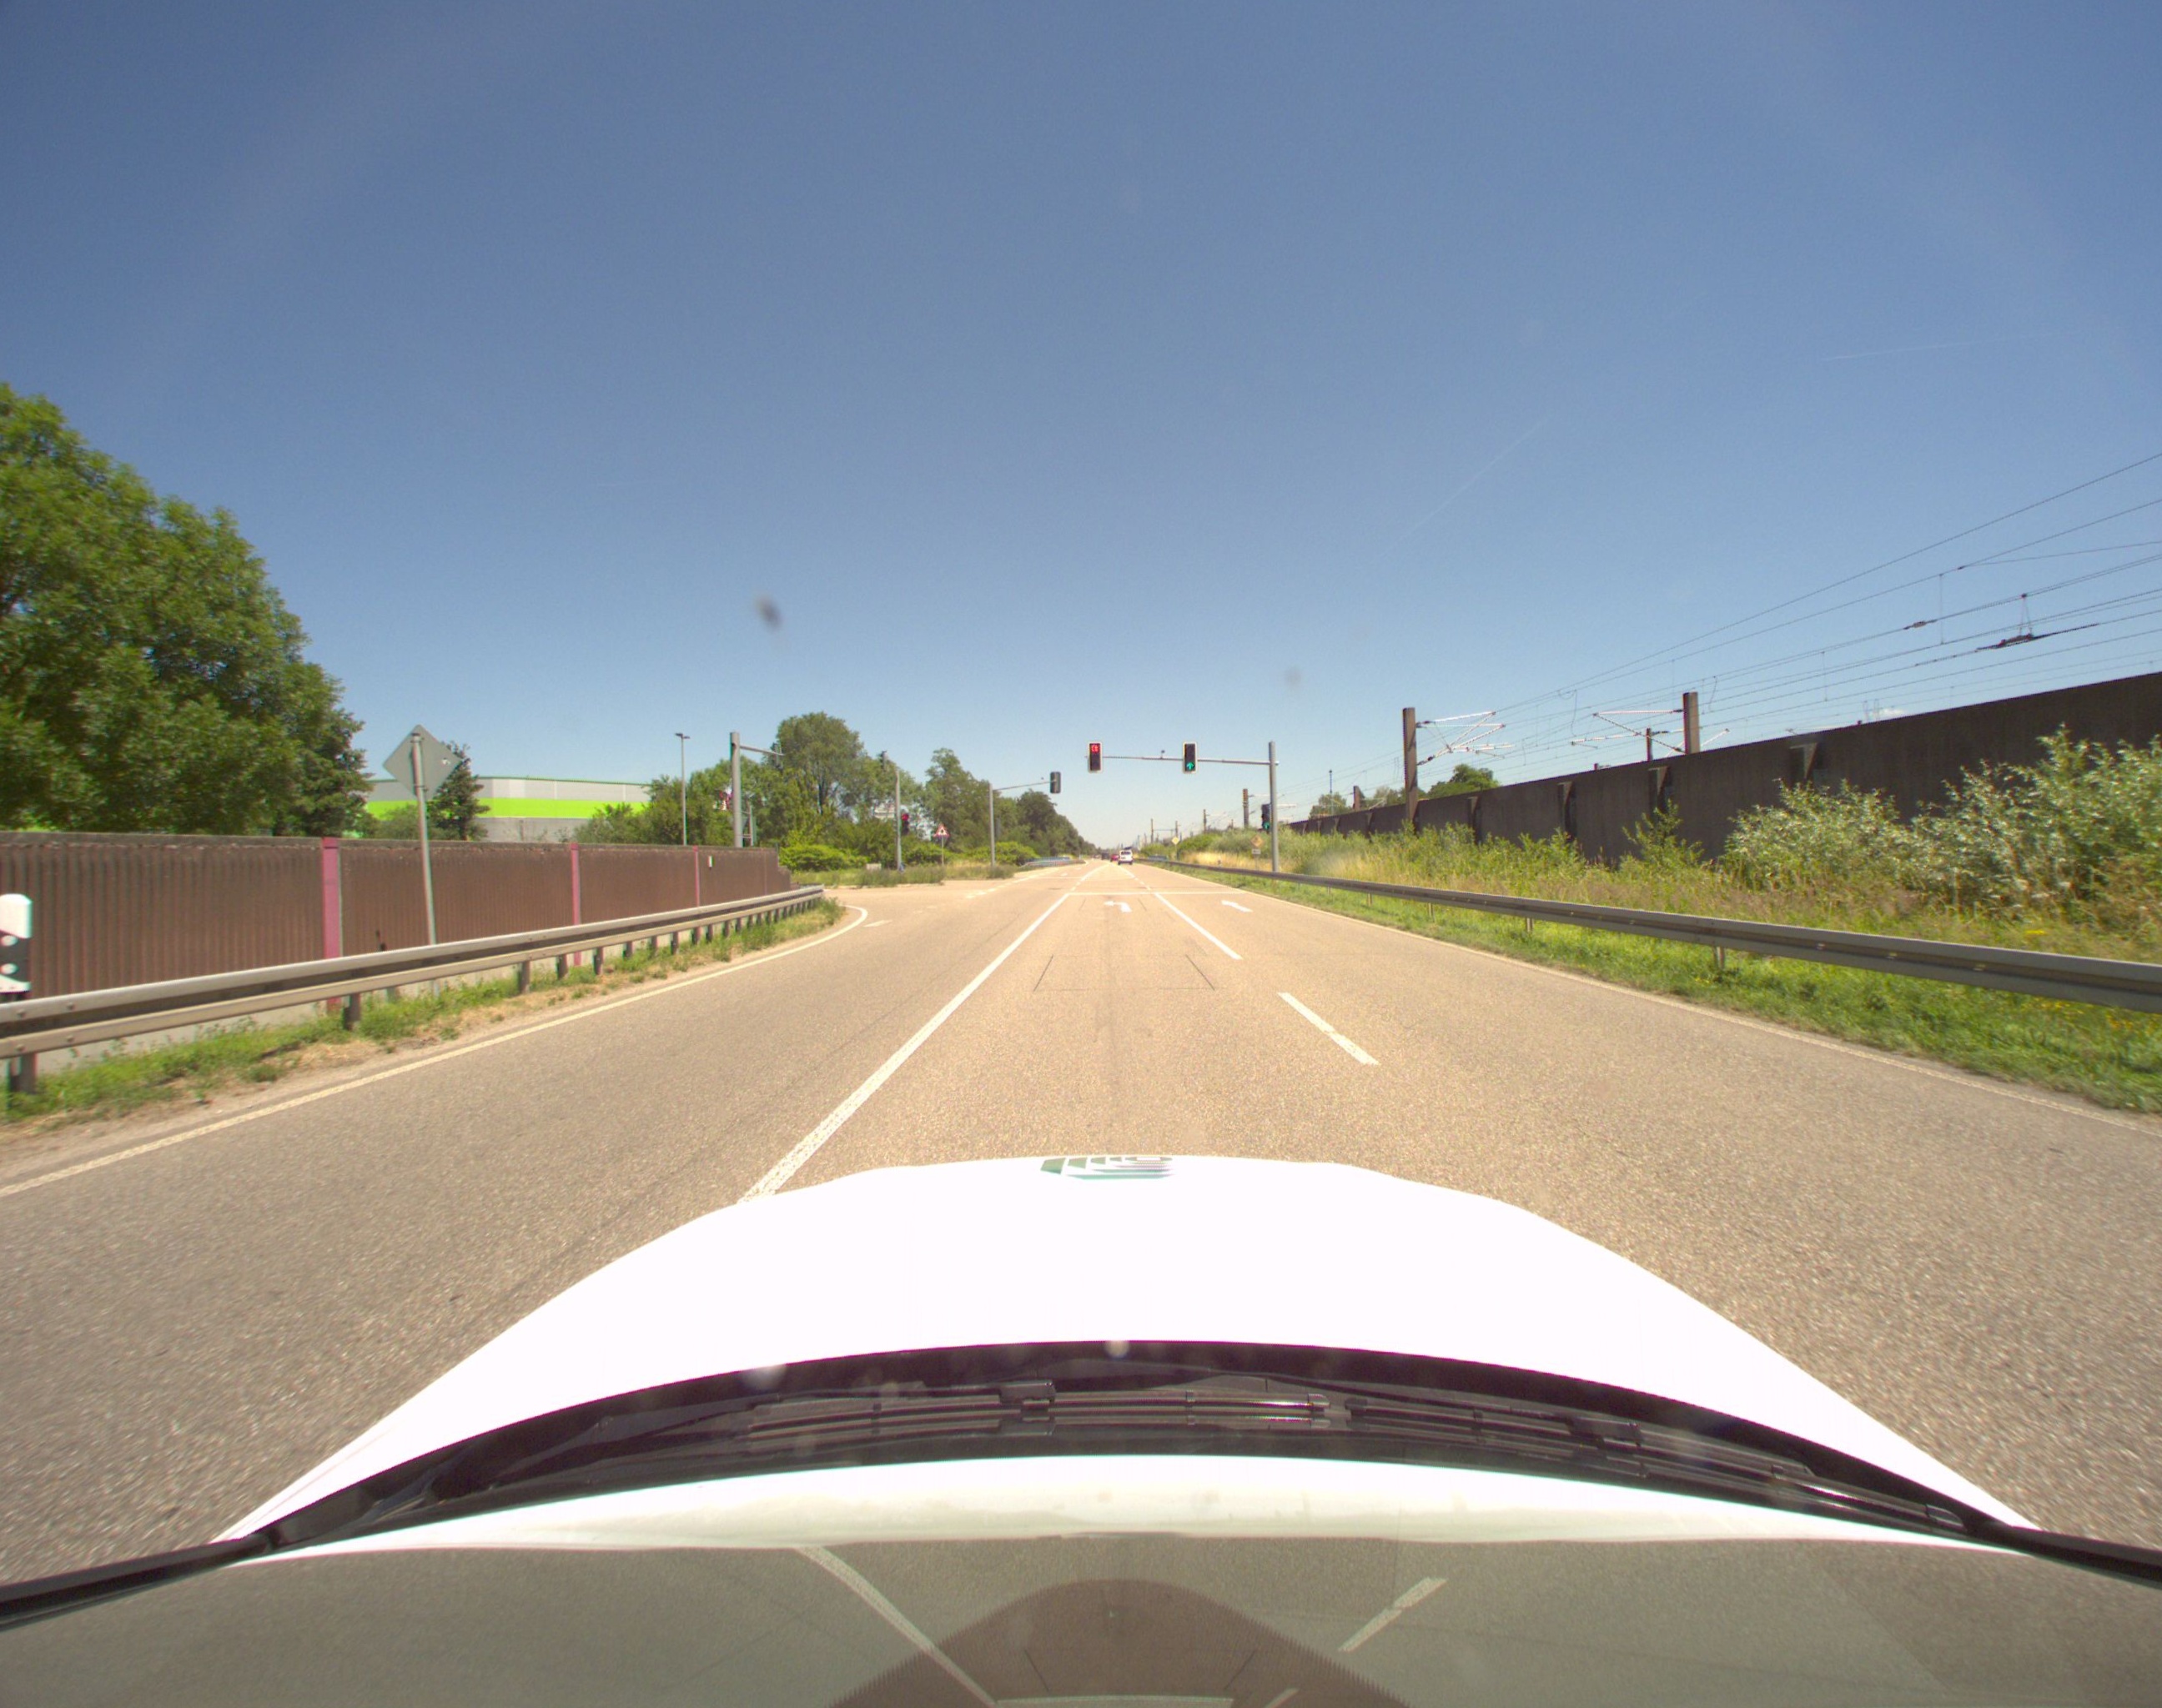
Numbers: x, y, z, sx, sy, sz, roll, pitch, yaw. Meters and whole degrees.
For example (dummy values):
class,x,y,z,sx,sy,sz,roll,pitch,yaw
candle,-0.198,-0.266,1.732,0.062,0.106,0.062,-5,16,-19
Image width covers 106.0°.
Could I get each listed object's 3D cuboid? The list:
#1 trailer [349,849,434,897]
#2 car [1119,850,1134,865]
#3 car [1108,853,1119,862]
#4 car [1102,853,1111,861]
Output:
class,x,y,z,sx,sy,sz,roll,pitch,yaw
trailer,-41.522,1.107,49.085,3.780,2.764,1.804,-1,0,-44
car,6.196,0.477,111.090,1.987,1.983,4.060,0,0,1
car,6.131,0.641,154.531,2.013,1.726,4.542,-1,0,0
car,6.703,0.708,211.276,2.148,1.968,4.542,-1,0,0
